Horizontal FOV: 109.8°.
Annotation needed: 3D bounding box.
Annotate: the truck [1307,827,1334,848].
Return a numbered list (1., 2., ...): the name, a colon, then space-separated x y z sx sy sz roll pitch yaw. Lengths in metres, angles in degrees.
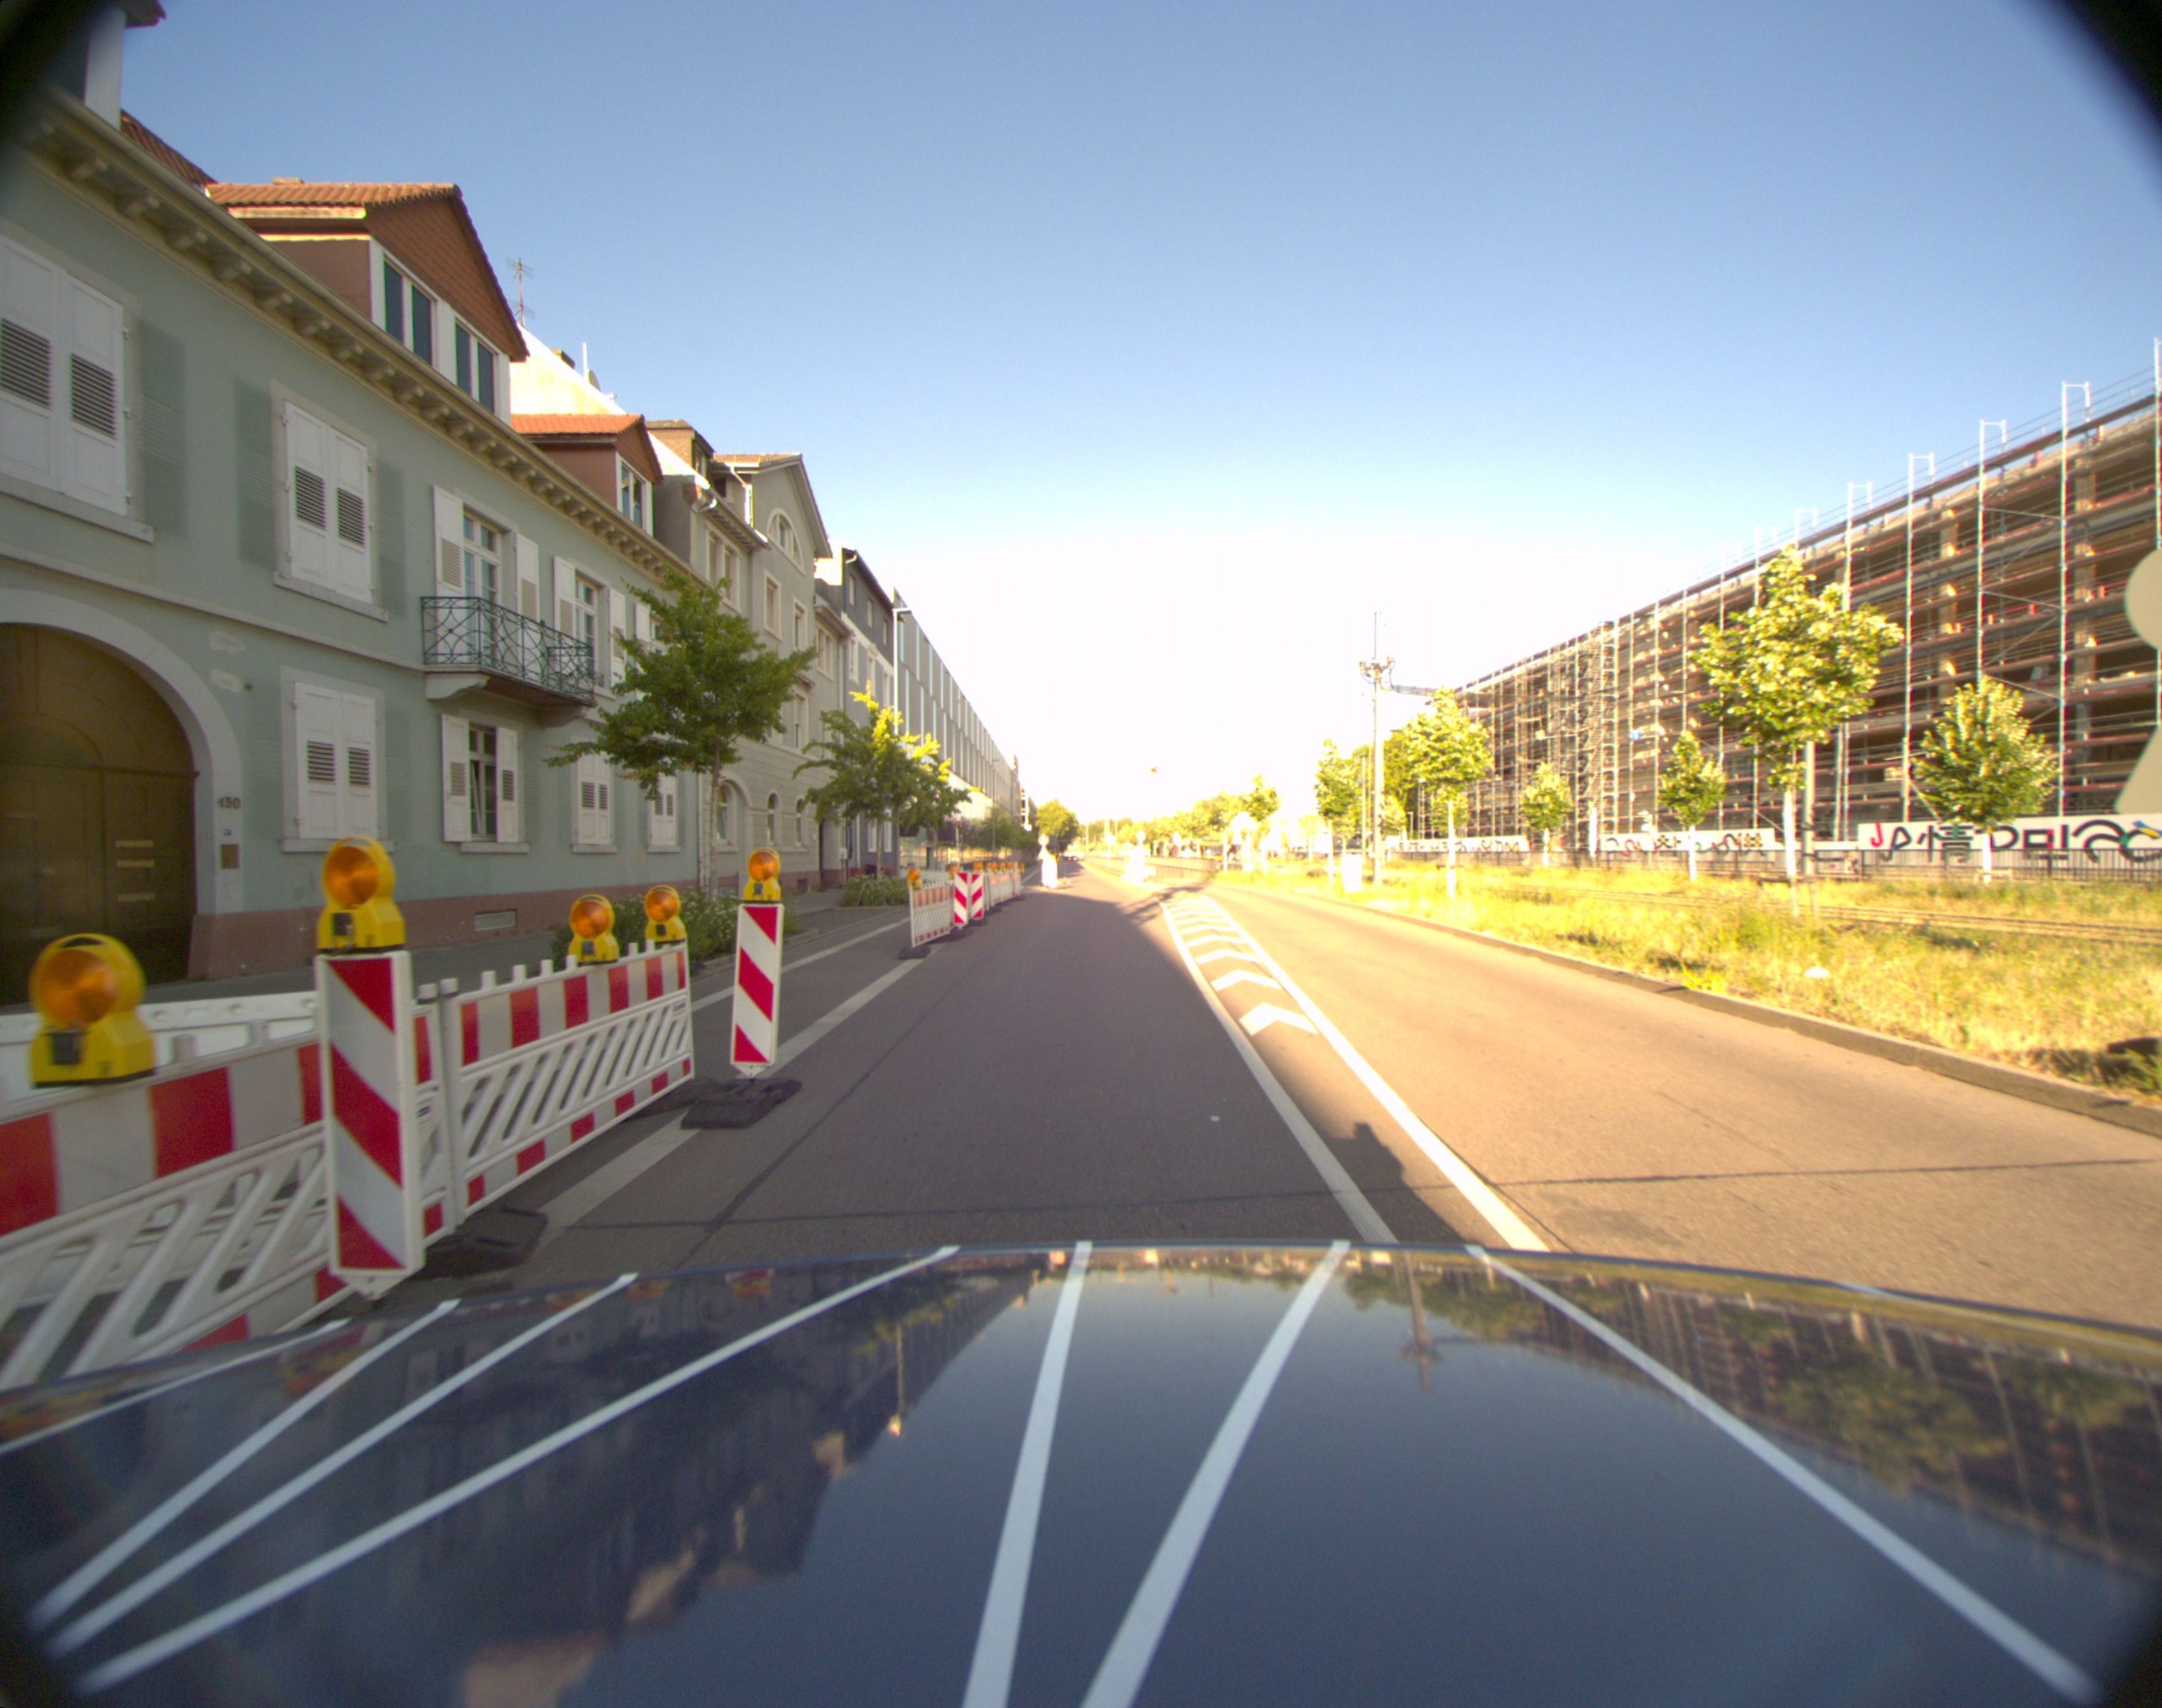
1. truck: 31.100 -2.104 98.805 2.143 2.559 4.739 -1 0 1

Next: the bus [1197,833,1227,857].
1. bus: 18.240 -1.202 106.061 2.724 3.204 8.655 -1 0 1

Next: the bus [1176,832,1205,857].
1. bus: 15.092 -1.265 105.070 2.724 3.204 8.655 -1 0 0
